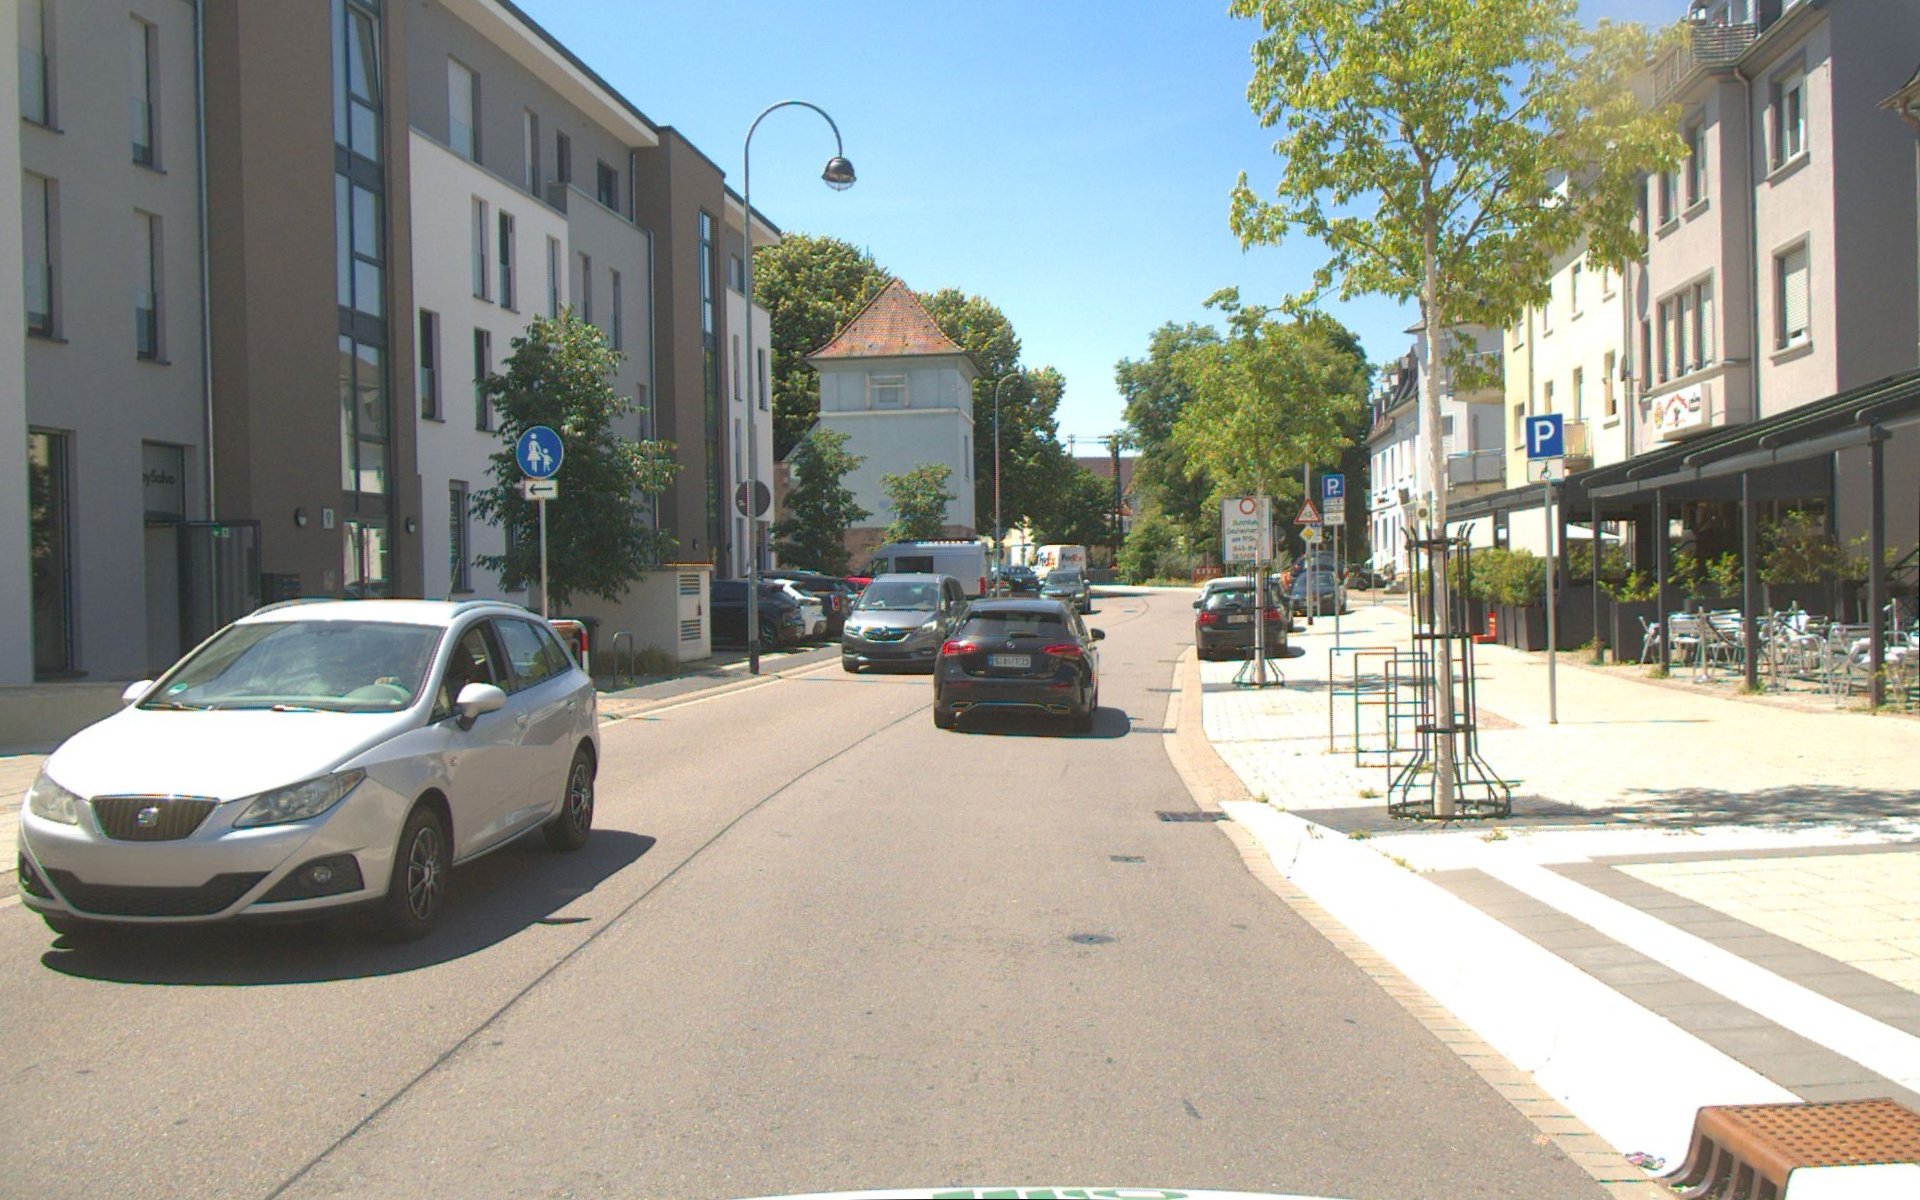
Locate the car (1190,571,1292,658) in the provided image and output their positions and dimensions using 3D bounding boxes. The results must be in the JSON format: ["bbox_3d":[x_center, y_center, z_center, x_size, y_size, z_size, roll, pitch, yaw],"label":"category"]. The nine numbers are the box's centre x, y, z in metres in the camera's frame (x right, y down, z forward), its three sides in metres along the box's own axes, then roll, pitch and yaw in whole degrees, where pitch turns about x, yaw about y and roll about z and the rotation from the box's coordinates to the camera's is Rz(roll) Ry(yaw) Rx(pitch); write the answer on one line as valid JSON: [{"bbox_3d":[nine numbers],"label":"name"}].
[{"bbox_3d":[5.531,0.270,32.696,1.793,1.508,4.099,-3,0,9],"label":"car"}]

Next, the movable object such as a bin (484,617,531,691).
[{"bbox_3d":[-6.405,0.764,23.432,0.543,1.015,0.404,-2,0,-6],"label":"movable object such as a bin"}]

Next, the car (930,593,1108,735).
[{"bbox_3d":[0.796,0.679,19.445,1.789,1.467,4.003,1,0,6],"label":"car"}]

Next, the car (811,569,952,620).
[{"bbox_3d":[-2.569,-0.203,54.562,4.359,1.619,2.002,0,1,8],"label":"car"}]

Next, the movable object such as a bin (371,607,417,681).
[{"bbox_3d":[-8.297,0.644,24.242,0.544,1.057,0.481,-1,0,-10],"label":"movable object such as a bin"}]

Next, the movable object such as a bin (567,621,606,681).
[{"bbox_3d":[-5.704,0.775,25.258,0.544,0.883,0.481,-1,0,-10],"label":"movable object such as a bin"}]

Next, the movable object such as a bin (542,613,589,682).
[{"bbox_3d":[-5.899,0.704,24.720,0.542,1.015,0.427,-1,0,9],"label":"movable object such as a bin"}]

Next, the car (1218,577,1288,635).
[{"bbox_3d":[8.039,0.122,45.118,1.687,1.429,4.613,-2,0,12],"label":"car"}]

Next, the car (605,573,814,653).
[{"bbox_3d":[-5.177,0.247,34.494,3.902,1.541,2.002,0,2,8],"label":"car"}]

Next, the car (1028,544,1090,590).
[{"bbox_3d":[5.900,-1.955,99.569,2.093,2.675,5.254,0,0,-16],"label":"car"}]

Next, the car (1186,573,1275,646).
[{"bbox_3d":[6.363,0.184,38.650,1.700,1.511,4.058,-3,0,13],"label":"car"}]

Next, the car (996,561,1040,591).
[{"bbox_3d":[3.325,-1.416,96.436,1.857,1.580,4.793,-1,3,-7],"label":"car"}]

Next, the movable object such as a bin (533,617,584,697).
[{"bbox_3d":[-5.296,0.749,21.831,0.472,1.015,0.588,-1,0,6],"label":"movable object such as a bin"}]

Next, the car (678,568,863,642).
[{"bbox_3d":[-4.462,0.094,39.264,3.946,1.680,2.002,0,1,10],"label":"car"}]

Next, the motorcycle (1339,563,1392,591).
[{"bbox_3d":[19.029,-1.073,77.632,2.326,1.297,0.857,0,1,7],"label":"motorcycle"}]

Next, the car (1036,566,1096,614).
[{"bbox_3d":[4.006,-0.395,61.921,1.772,1.731,4.080,0,0,11],"label":"car"}]

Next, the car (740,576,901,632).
[{"bbox_3d":[-3.735,0.091,44.674,3.946,1.455,2.002,0,1,10],"label":"car"}]

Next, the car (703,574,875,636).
[{"bbox_3d":[-4.325,0.109,42.116,3.946,1.523,2.002,0,1,10],"label":"car"}]

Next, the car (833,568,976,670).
[{"bbox_3d":[-0.901,0.295,29.586,1.901,1.687,4.239,0,0,7],"label":"car"}]

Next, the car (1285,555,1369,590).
[{"bbox_3d":[18.498,-1.388,83.516,3.988,1.746,1.858,0,1,6],"label":"car"}]

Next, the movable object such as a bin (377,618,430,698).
[{"bbox_3d":[-7.304,0.753,21.724,0.473,1.015,0.527,-1,0,4],"label":"movable object such as a bin"}]

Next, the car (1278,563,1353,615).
[{"bbox_3d":[12.036,-0.403,55.863,1.833,1.517,3.863,-2,2,21],"label":"car"}]

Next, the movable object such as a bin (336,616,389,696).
[{"bbox_3d":[-7.891,0.731,21.861,0.473,1.015,0.588,-1,0,1],"label":"movable object such as a bin"}]

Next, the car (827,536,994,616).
[{"bbox_3d":[-1.724,-0.852,59.105,5.644,2.780,2.293,0,1,9],"label":"car"}]

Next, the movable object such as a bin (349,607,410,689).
[{"bbox_3d":[-8.175,0.664,23.307,0.679,1.114,0.646,-1,0,-10],"label":"movable object such as a bin"}]

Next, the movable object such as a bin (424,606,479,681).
[{"bbox_3d":[-7.431,0.629,24.196,0.663,1.057,0.603,-1,0,-10],"label":"movable object such as a bin"}]

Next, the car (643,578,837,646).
[{"bbox_3d":[-4.862,0.239,36.830,3.902,1.446,1.911,0,1,8],"label":"car"}]

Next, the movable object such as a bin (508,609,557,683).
[{"bbox_3d":[-6.244,0.667,24.177,0.542,1.038,0.560,-1,0,3],"label":"movable object such as a bin"}]

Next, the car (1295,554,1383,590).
[{"bbox_3d":[18.640,-1.374,81.475,3.988,1.746,1.858,0,1,6],"label":"car"}]

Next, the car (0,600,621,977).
[{"bbox_3d":[-3.021,0.731,8.372,1.632,1.420,3.849,0,0,3],"label":"car"}]
